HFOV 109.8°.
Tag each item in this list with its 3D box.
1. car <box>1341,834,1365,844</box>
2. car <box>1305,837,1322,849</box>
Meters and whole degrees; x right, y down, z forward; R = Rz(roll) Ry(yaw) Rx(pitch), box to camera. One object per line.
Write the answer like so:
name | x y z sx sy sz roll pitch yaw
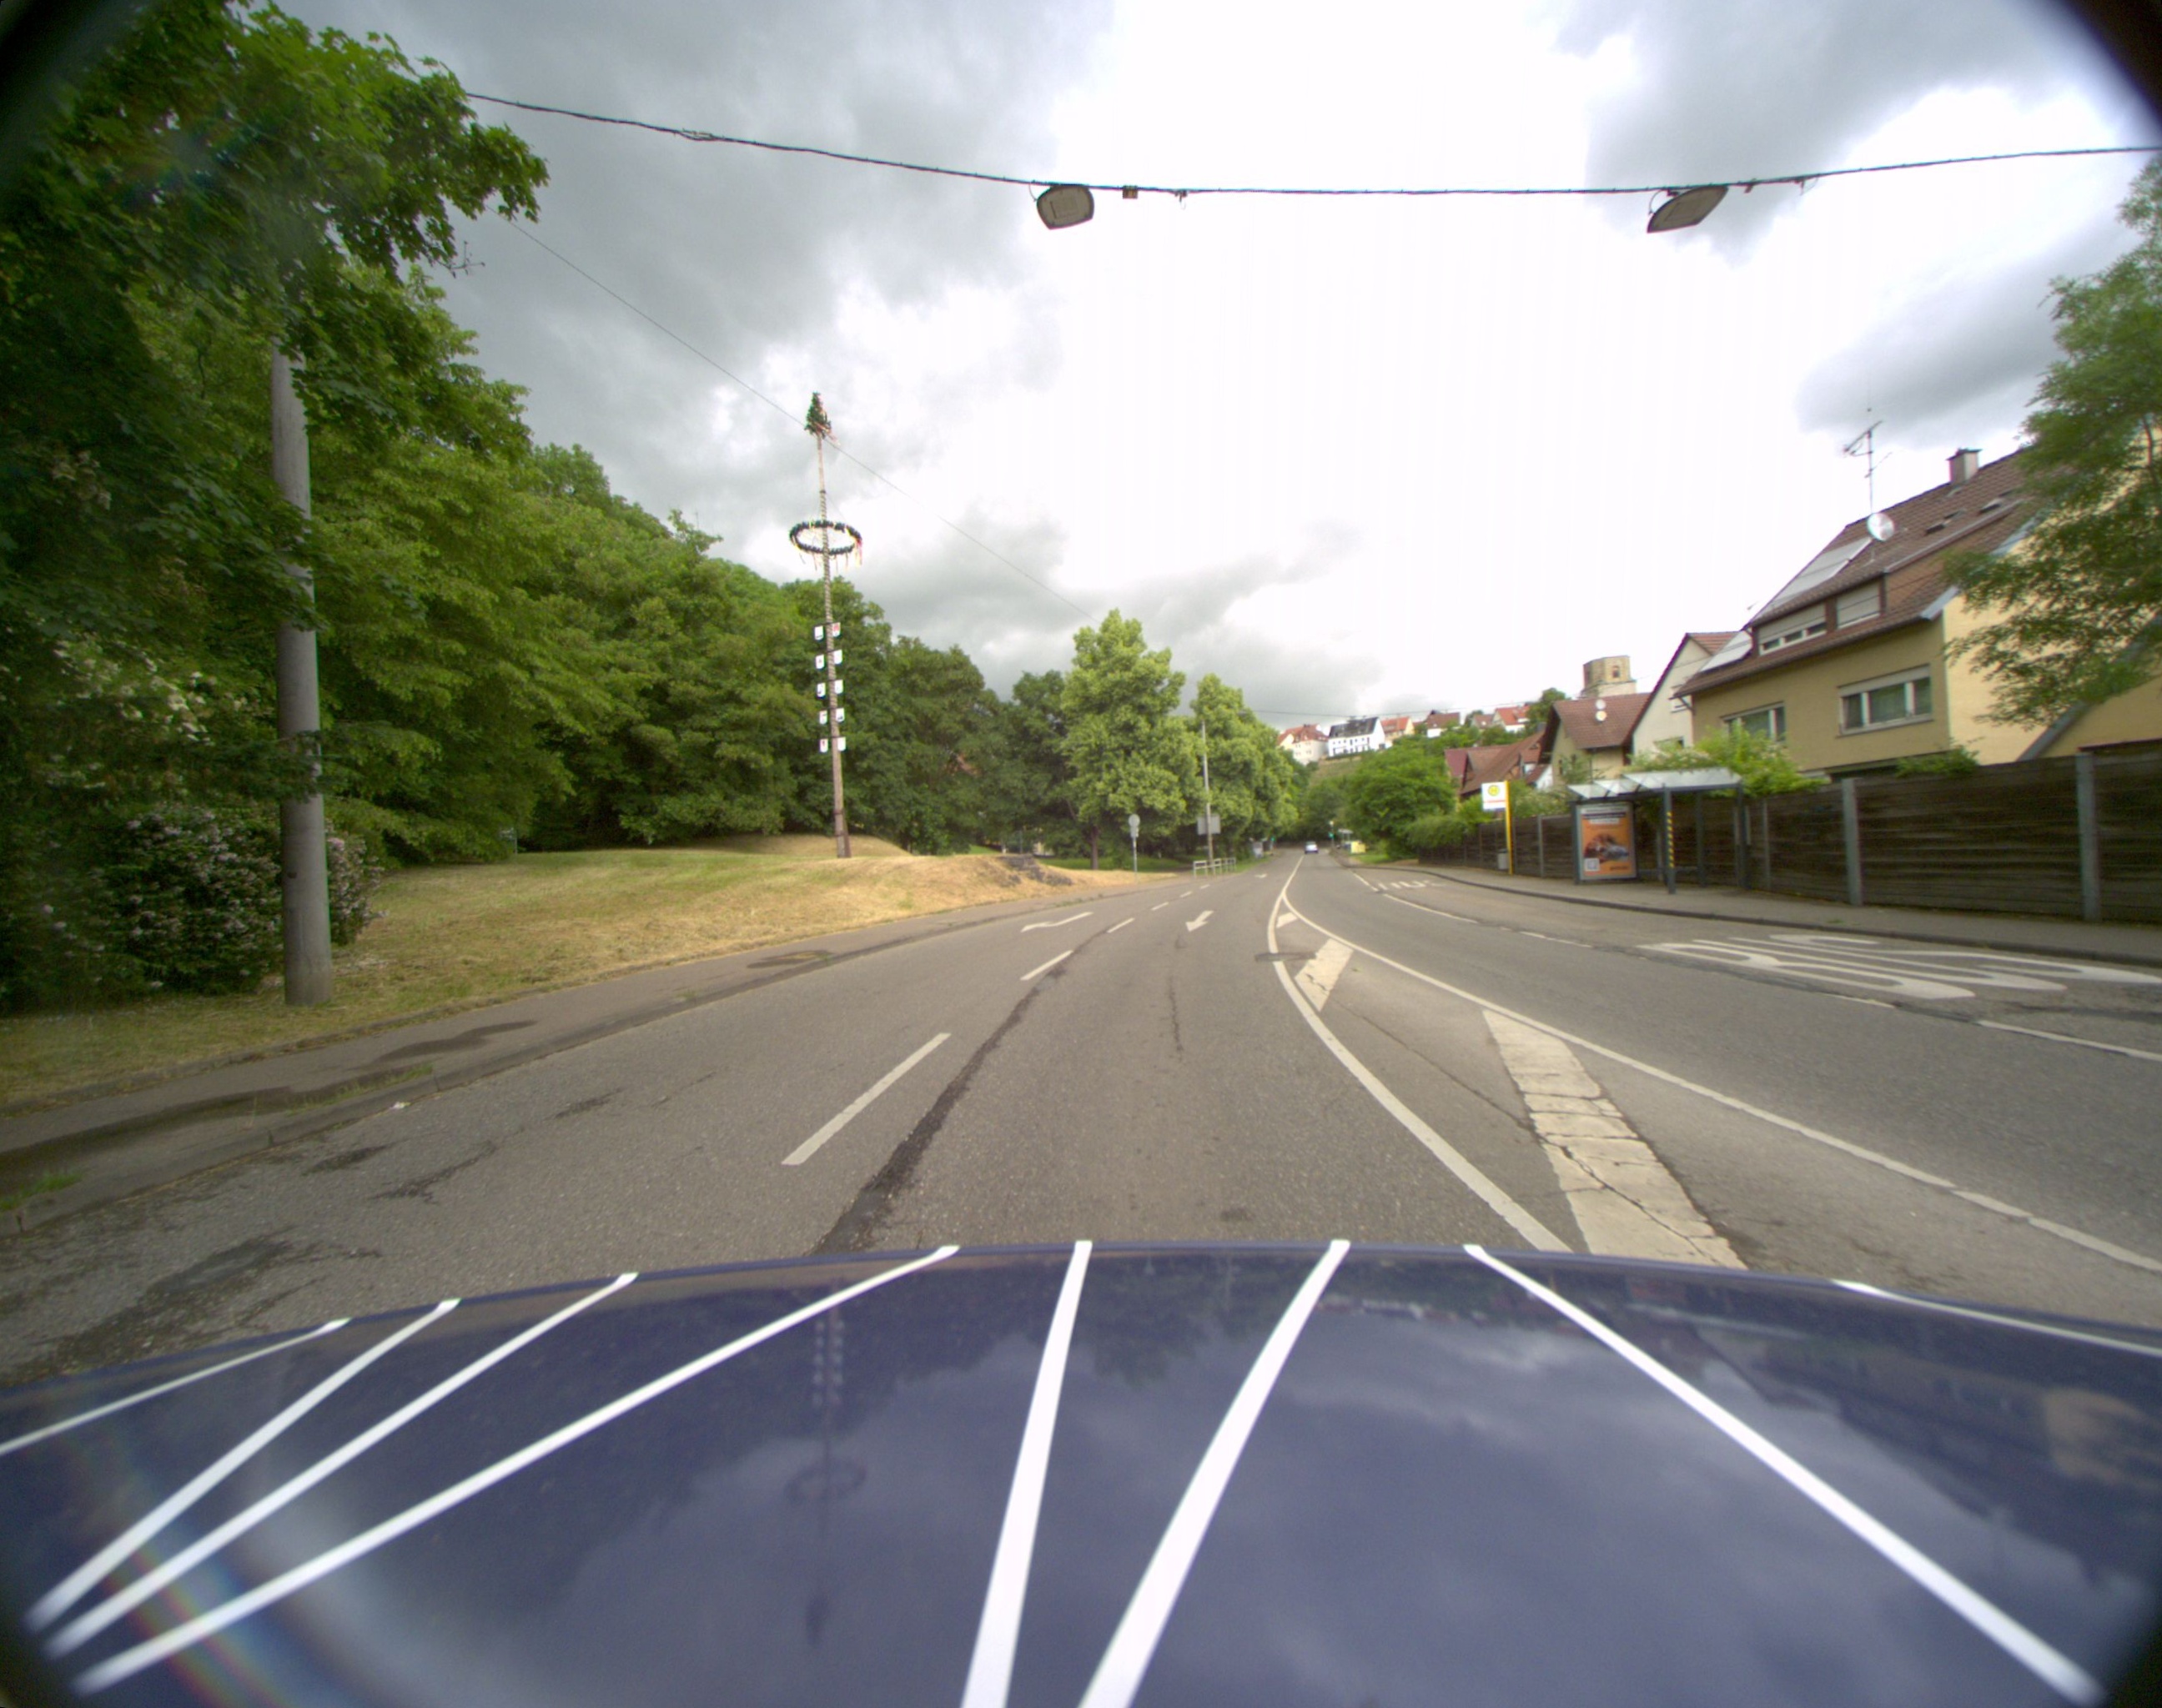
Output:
car | 44.408 -2.439 123.925 3.675 1.575 1.767 -2 1 21
car | 34.117 -1.612 111.580 1.996 1.608 4.004 -2 0 14
